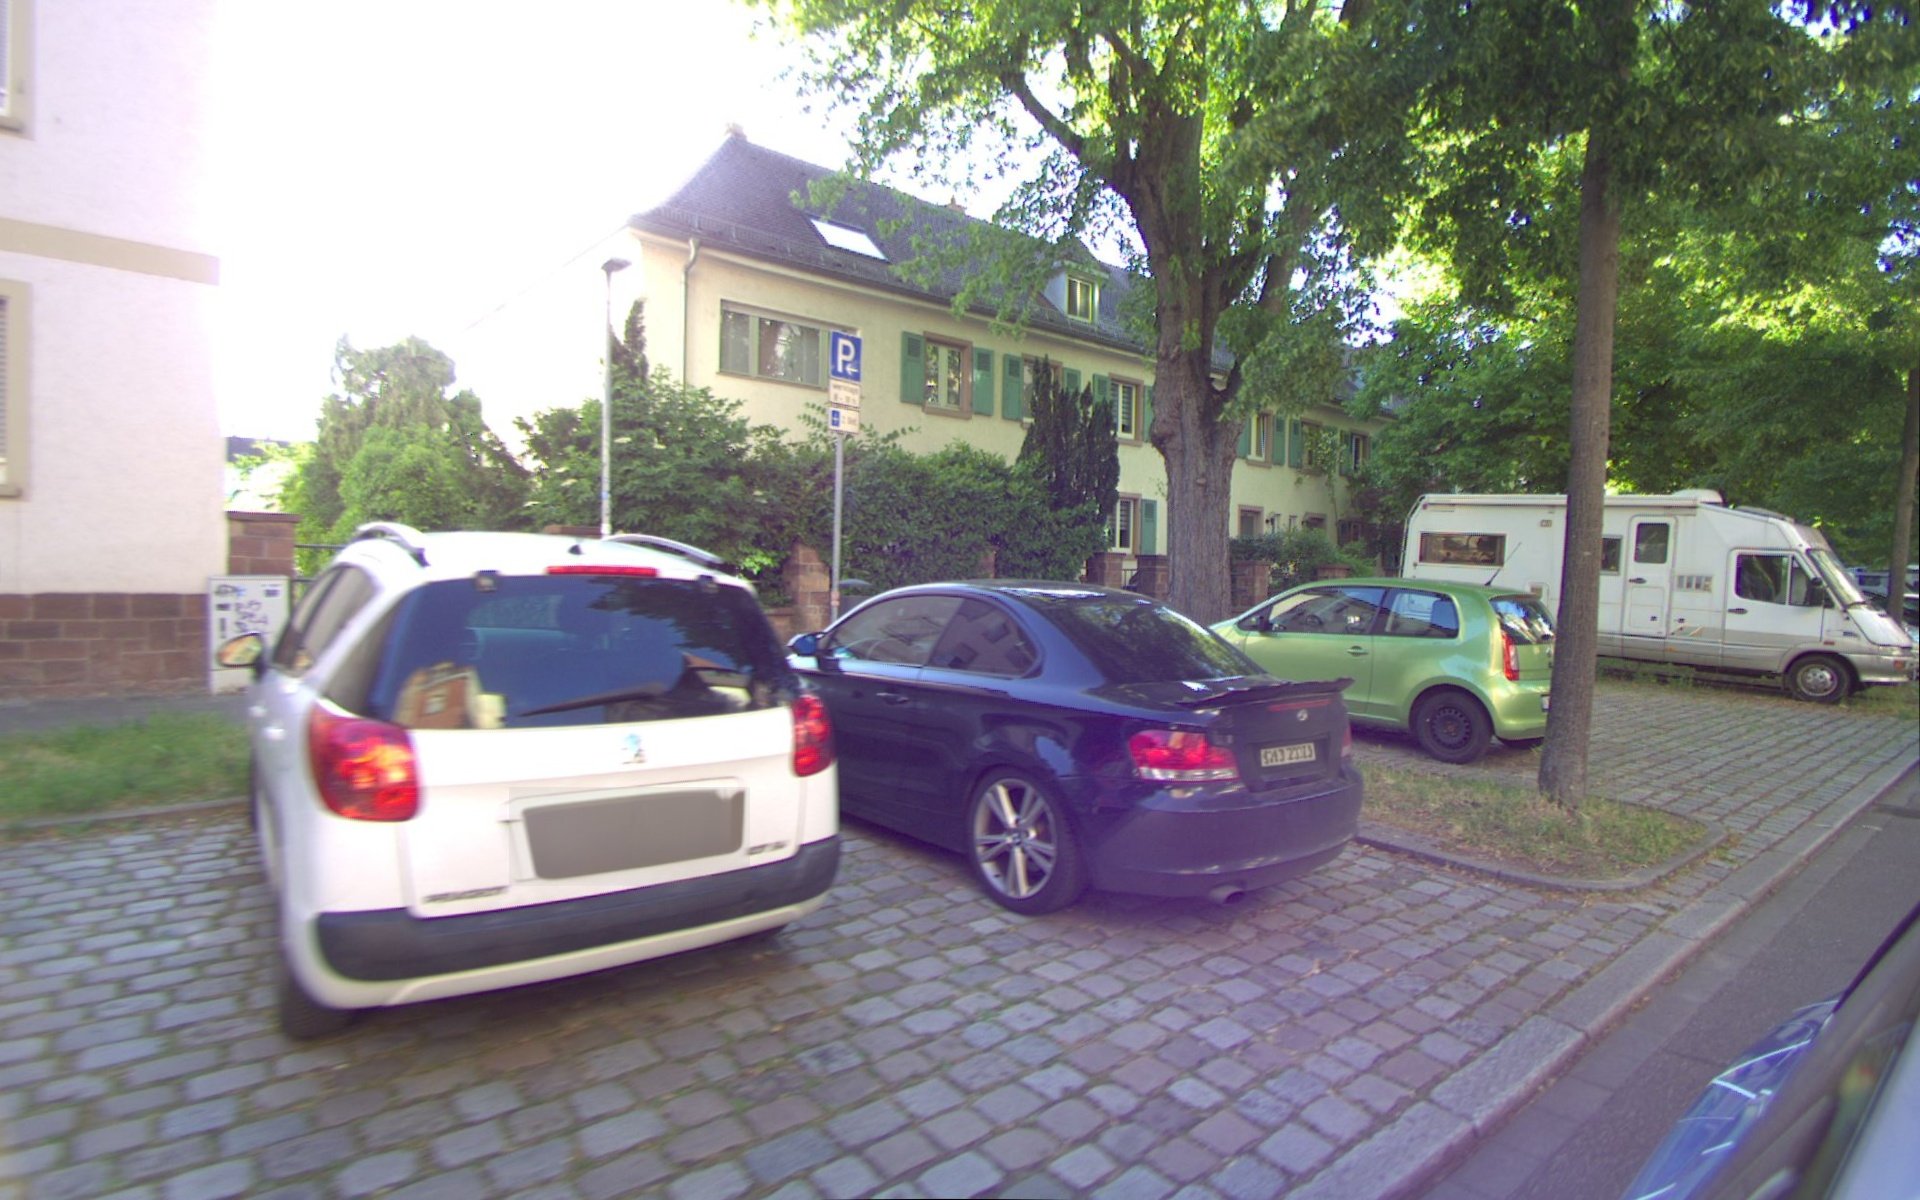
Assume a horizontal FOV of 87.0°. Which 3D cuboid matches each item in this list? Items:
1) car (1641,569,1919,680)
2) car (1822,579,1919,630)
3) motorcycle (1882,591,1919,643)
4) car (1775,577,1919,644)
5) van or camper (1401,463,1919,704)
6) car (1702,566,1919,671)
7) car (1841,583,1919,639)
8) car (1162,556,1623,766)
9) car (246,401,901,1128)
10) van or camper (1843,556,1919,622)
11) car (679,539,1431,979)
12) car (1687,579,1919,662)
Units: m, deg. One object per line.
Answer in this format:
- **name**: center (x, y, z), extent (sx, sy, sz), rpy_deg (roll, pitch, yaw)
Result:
- **car**: center (15.373, 0.349, 18.895), extent (1.868, 1.617, 3.976), rpy_deg (-1, 5, -38)
- **car**: center (31.518, 0.190, 33.352), extent (1.721, 1.495, 4.470), rpy_deg (0, 4, -39)
- **motorcycle**: center (23.490, 0.422, 24.536), extent (0.725, 1.212, 1.774), rpy_deg (1, 1, 5)
- **car**: center (25.160, 0.271, 27.551), extent (1.895, 1.627, 4.341), rpy_deg (-1, 4, -41)
- **van or camper**: center (11.164, -0.319, 16.252), extent (2.423, 3.115, 7.086), rpy_deg (0, 2, -42)
- **car**: center (17.368, 0.303, 20.066), extent (1.699, 1.765, 3.924), rpy_deg (-1, 5, -40)
- **car**: center (27.493, 0.350, 28.771), extent (1.664, 1.493, 3.456), rpy_deg (0, 3, -40)
- **car**: center (3.872, 0.402, 9.527), extent (1.648, 1.524, 3.598), rpy_deg (1, 2, -39)
- **car**: center (-1.969, 0.325, 4.315), extent (1.672, 1.671, 3.704), rpy_deg (0, 2, -37)
- **van or camper**: center (44.445, -0.479, 45.164), extent (2.385, 2.939, 7.263), rpy_deg (-2, 3, -40)
- **car**: center (0.147, 0.460, 5.674), extent (1.760, 1.428, 4.115), rpy_deg (0, 4, -40)
- **car**: center (18.627, 0.370, 22.359), extent (3.878, 1.490, 1.759), rpy_deg (5, 4, 45)
